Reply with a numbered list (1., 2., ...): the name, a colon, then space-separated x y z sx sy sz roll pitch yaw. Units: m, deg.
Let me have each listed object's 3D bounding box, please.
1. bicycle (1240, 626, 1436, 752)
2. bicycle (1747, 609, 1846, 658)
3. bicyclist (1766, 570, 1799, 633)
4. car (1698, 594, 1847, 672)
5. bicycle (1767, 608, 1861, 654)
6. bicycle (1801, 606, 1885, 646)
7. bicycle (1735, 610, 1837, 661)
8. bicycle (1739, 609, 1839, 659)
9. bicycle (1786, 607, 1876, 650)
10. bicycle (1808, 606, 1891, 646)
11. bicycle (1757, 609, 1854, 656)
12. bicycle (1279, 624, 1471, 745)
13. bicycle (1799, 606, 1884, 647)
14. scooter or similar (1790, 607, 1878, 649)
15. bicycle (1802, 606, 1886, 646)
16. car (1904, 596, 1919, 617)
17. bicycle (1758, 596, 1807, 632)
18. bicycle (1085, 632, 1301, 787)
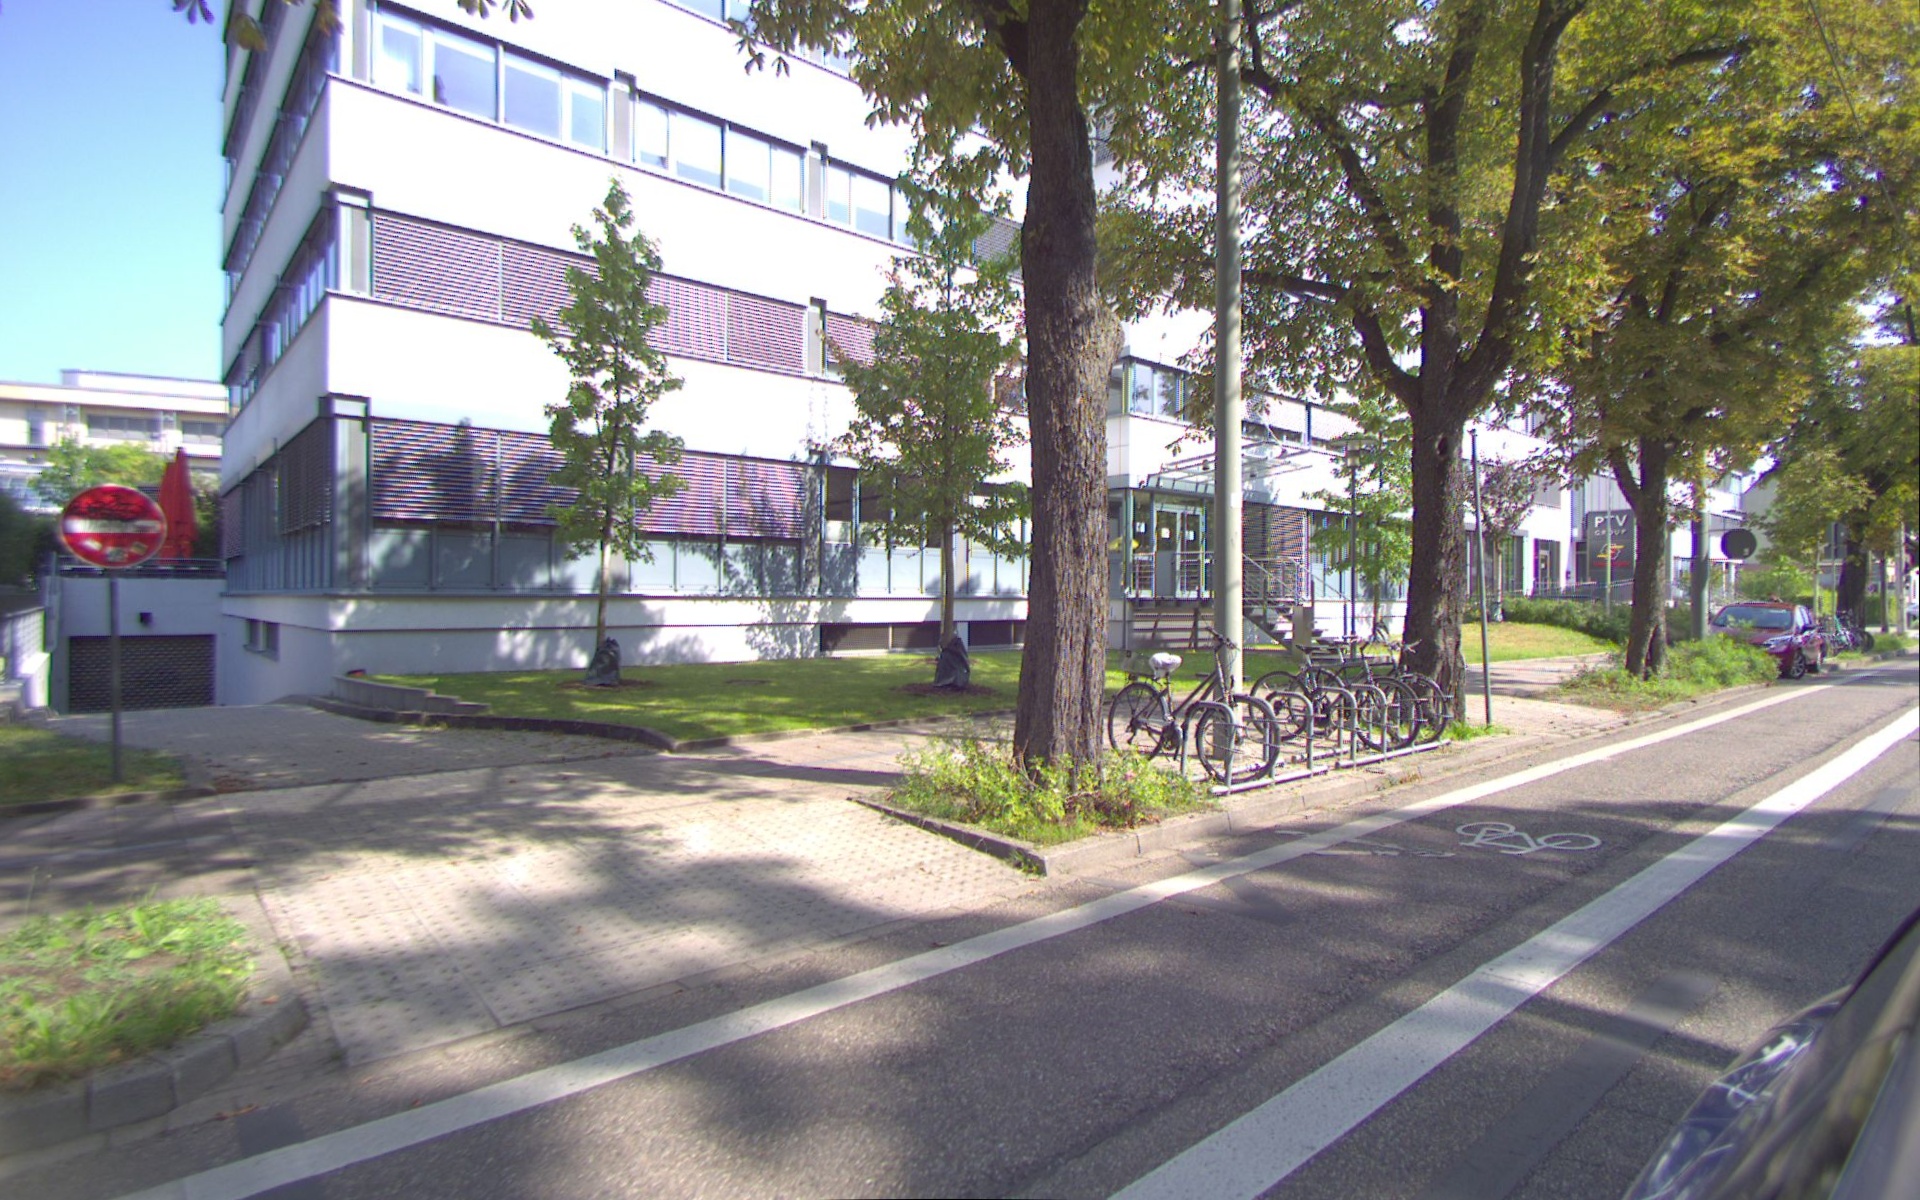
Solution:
1. bicycle: 3.700 0.828 10.027 0.531 1.063 1.774 0 1 -41
2. bicycle: 20.247 0.791 24.527 0.531 1.085 1.774 0 1 -41
3. bicyclist: 27.474 0.046 33.794 0.780 2.039 1.255 -1 0 42
4. car: 17.392 0.629 21.598 4.200 1.480 1.759 0 1 -41
5. bicycle: 21.692 0.778 25.728 0.531 1.085 1.774 0 1 -41
6. bicycle: 25.572 0.743 29.329 0.531 1.085 1.774 0 1 -41
7. bicycle: 19.199 0.800 23.561 0.531 1.085 1.774 0 1 -41
8. bicycle: 19.732 0.795 24.110 0.531 1.085 1.774 0 1 -41
9. bicycle: 23.584 0.761 27.421 0.531 1.085 1.774 0 1 -41
10. bicycle: 26.139 0.738 29.750 0.531 1.085 1.774 0 1 -41
11. bicycle: 20.879 0.785 25.014 0.531 1.085 1.774 0 1 -41
12. bicycle: 4.229 0.823 10.432 0.531 1.063 1.774 0 1 -41
13. bicycle: 25.172 0.747 28.921 0.531 1.085 1.774 0 1 -41
14. scooter or similar: 24.004 0.757 27.818 0.531 1.085 1.774 0 1 -41
15. bicycle: 25.595 0.743 29.335 0.531 1.085 1.774 0 1 -41
16. car: 72.073 0.457 73.922 4.540 1.534 1.930 0 0 45
17. bicycle: 27.507 0.442 33.840 1.135 1.139 2.498 0 0 42
18. bicycle: 1.881 0.844 8.405 0.531 1.063 1.774 0 1 -41
